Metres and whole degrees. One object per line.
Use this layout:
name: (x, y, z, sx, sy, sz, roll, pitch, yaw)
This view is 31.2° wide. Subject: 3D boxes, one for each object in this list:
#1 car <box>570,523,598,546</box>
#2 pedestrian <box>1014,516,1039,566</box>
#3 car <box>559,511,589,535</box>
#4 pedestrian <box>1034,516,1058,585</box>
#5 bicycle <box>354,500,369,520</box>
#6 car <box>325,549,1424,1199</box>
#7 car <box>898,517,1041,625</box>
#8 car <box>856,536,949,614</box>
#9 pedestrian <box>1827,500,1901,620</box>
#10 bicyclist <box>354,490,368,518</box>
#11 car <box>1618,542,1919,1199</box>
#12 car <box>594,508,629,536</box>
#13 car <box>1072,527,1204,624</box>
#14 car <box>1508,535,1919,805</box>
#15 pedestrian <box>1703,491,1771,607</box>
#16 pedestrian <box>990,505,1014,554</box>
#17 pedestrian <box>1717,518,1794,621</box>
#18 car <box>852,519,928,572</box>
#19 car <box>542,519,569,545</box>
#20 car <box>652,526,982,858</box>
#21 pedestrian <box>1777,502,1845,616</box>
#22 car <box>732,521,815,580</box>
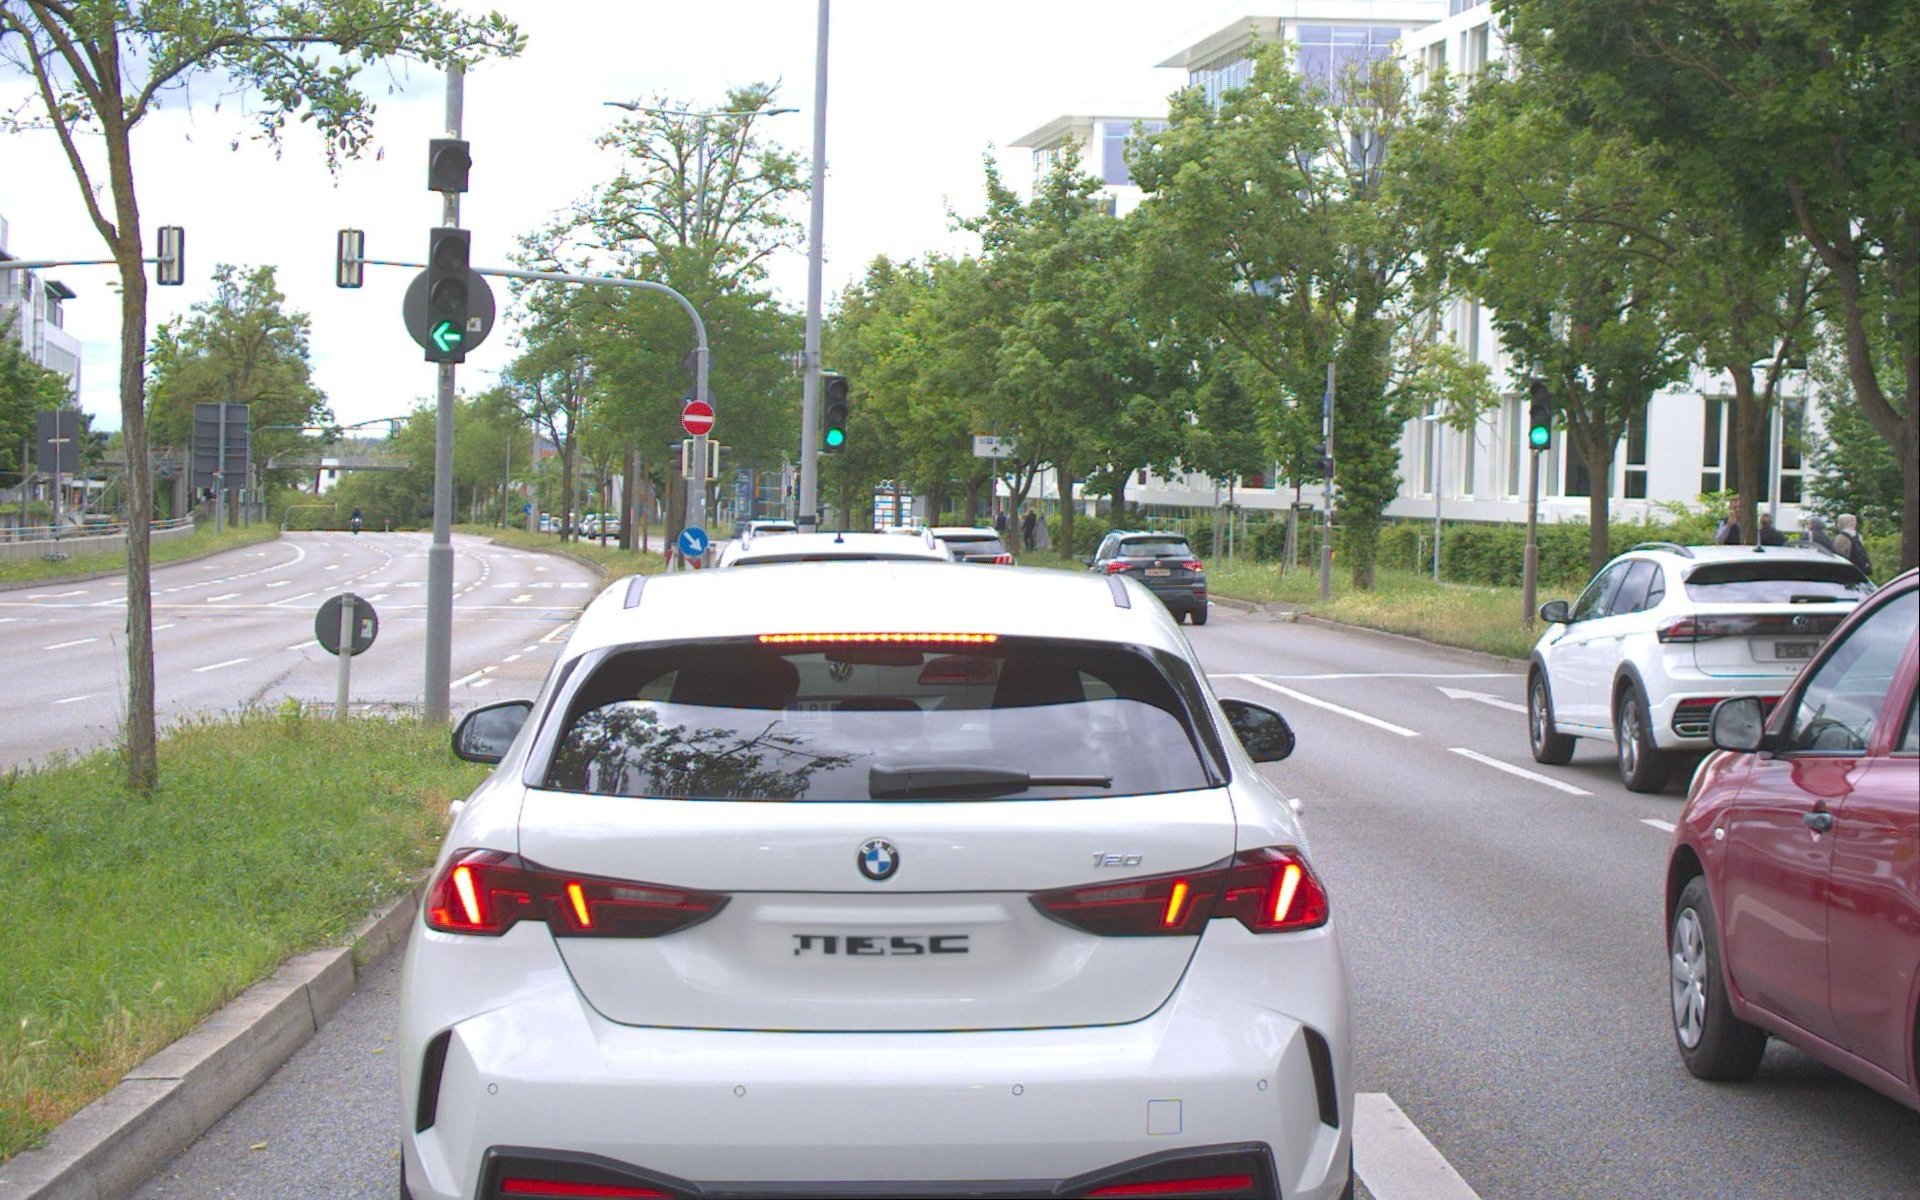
car: (-25.683, -4.468, 234.819, 1.692, 1.481, 3.695, 1, 1, -9)
pedestrian: (2.686, -2.383, 138.773, 0.848, 2.007, 0.606, 1, 1, -15)
car: (-28.909, -5.778, 257.372, 1.993, 1.726, 4.001, 1, 1, -10)
pedestrian: (3.306, -1.900, 131.593, 0.831, 2.618, 0.646, 1, 1, -1)
bicycle: (-35.748, -5.369, 205.222, 0.810, 1.100, 2.557, 1, 1, -11)
car: (-0.171, 0.629, 7.776, 1.822, 1.433, 4.000, 1, 1, -1)
car: (0.101, -0.472, 53.131, 1.854, 1.590, 4.314, 0, 1, -4)
car: (-1.173, -0.518, 68.359, 1.605, 1.463, 3.676, 1, 1, -4)
pedestrian: (12.847, -0.569, 48.871, 0.767, 1.679, 0.883, 1, 0, -1)
bicyclist: (-35.759, -5.731, 205.279, 0.810, 1.647, 1.189, 1, 0, -11)
car: (2.864, 0.637, 8.369, 1.716, 1.553, 3.858, 0, 1, -1)
car: (-21.352, -4.779, 210.736, 1.993, 1.664, 4.001, -1, 1, -8)
car: (2.868, -0.389, 56.166, 1.657, 1.507, 4.001, 1, 0, -4)
car: (4.816, 0.372, 21.958, 1.715, 1.550, 4.090, 1, 1, -4)
pedestrian: (10.628, -0.698, 47.051, 0.741, 1.568, 0.674, 1, 0, -1)
pedestrian: (1.731, -2.876, 140.731, 0.762, 2.007, 0.754, 1, 0, -15)
pedestrian: (11.285, -0.436, 48.818, 0.789, 1.443, 1.112, 1, 0, -1)
car: (-1.933, -1.495, 94.118, 1.653, 1.420, 3.536, 0, 1, -9)
car: (-27.771, -4.677, 235.844, 1.695, 1.711, 4.001, 1, 1, -8)
car: (-0.711, 0.406, 18.509, 1.549, 1.563, 4.000, 1, 1, -1)
pedestrian: (12.089, -0.579, 48.844, 0.699, 1.590, 0.883, 1, 0, -1)
car: (-5.264, -1.410, 96.663, 1.891, 1.590, 4.315, 1, 1, -8)
